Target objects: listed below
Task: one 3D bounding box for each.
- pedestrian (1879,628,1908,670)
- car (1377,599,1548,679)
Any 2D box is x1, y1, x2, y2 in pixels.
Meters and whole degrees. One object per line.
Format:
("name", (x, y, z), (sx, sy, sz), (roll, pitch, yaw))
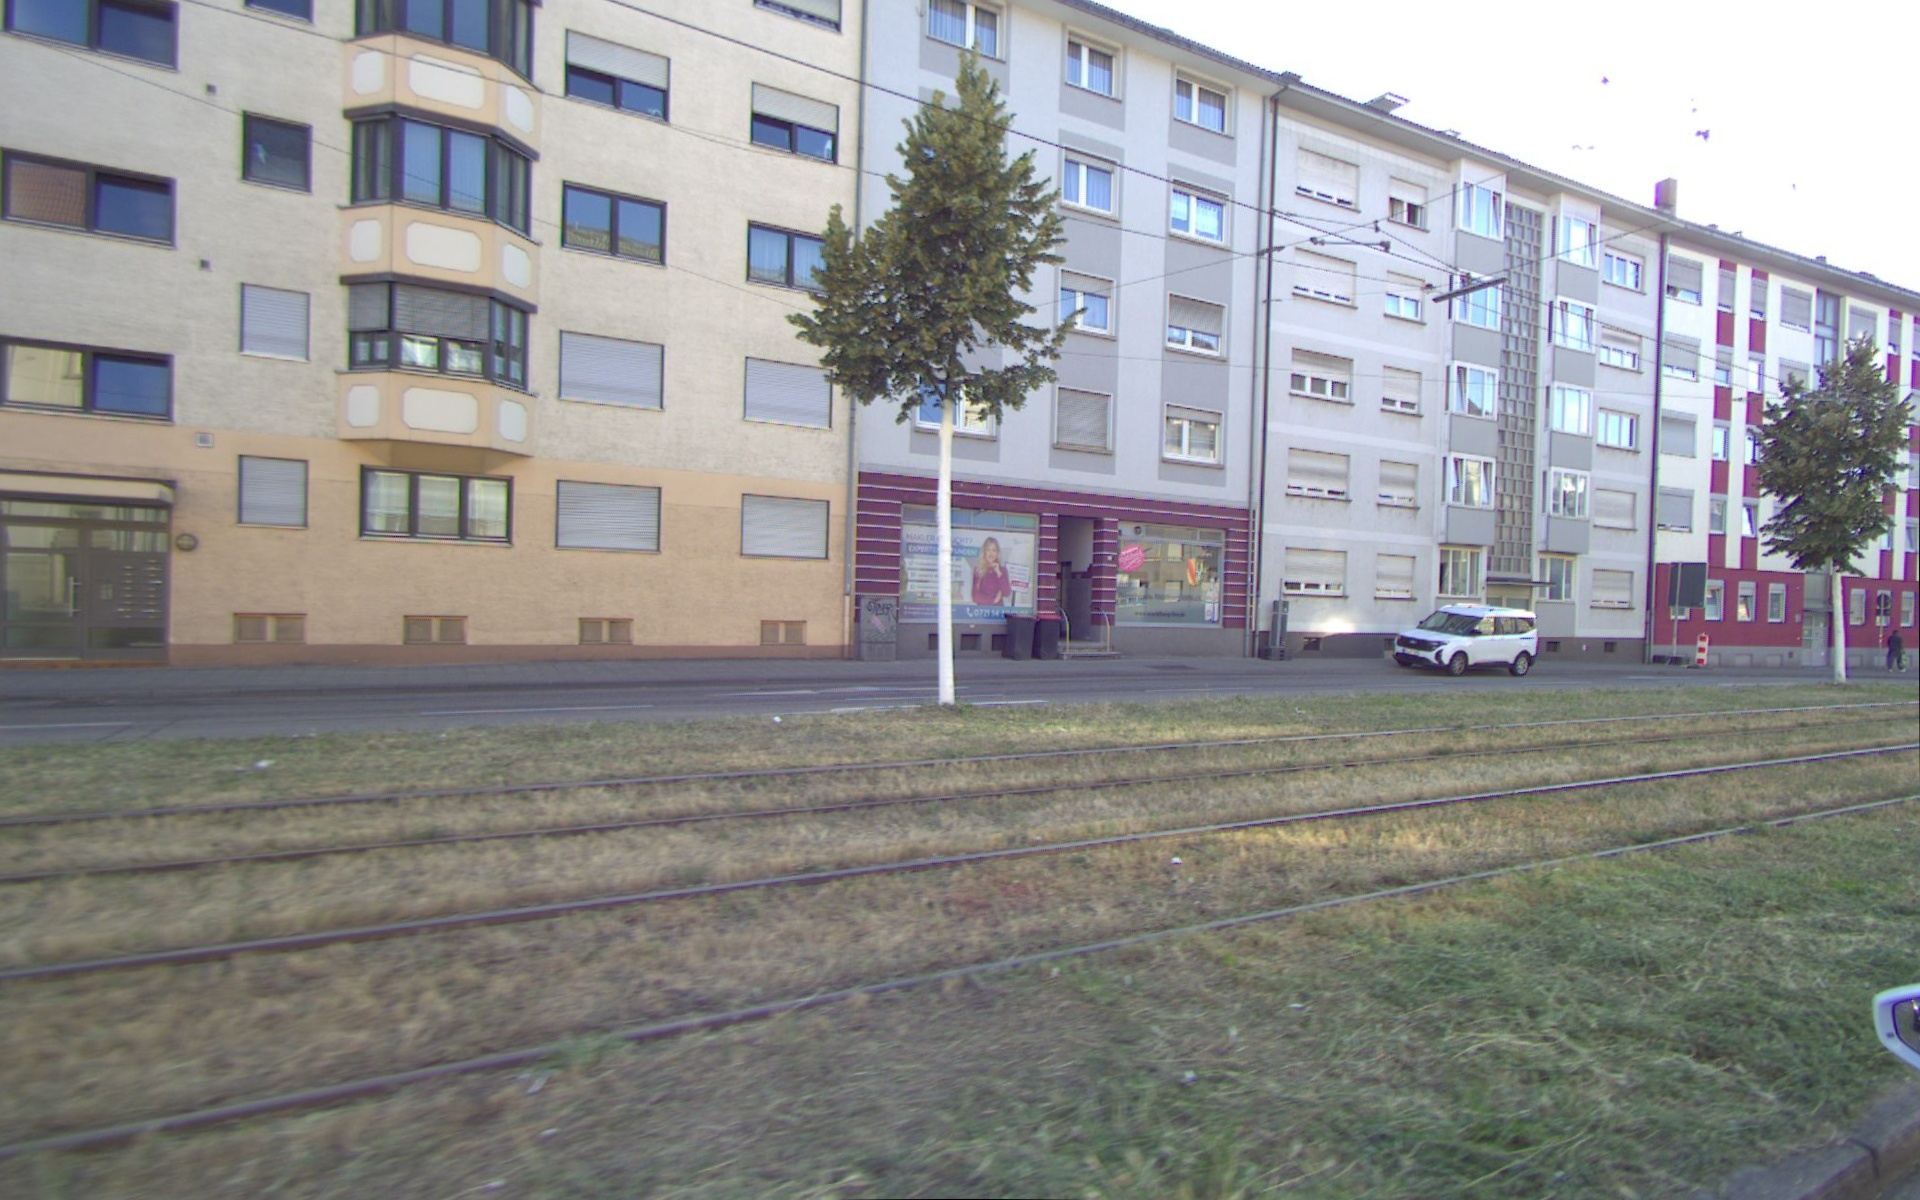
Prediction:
("pedestrian", (39.461, 2.067, 42.460), (0.781, 1.712, 0.611), (2, 0, -25))
("car", (13.927, 1.081, 27.800), (4.366, 1.854, 1.859), (2, 7, -28))
